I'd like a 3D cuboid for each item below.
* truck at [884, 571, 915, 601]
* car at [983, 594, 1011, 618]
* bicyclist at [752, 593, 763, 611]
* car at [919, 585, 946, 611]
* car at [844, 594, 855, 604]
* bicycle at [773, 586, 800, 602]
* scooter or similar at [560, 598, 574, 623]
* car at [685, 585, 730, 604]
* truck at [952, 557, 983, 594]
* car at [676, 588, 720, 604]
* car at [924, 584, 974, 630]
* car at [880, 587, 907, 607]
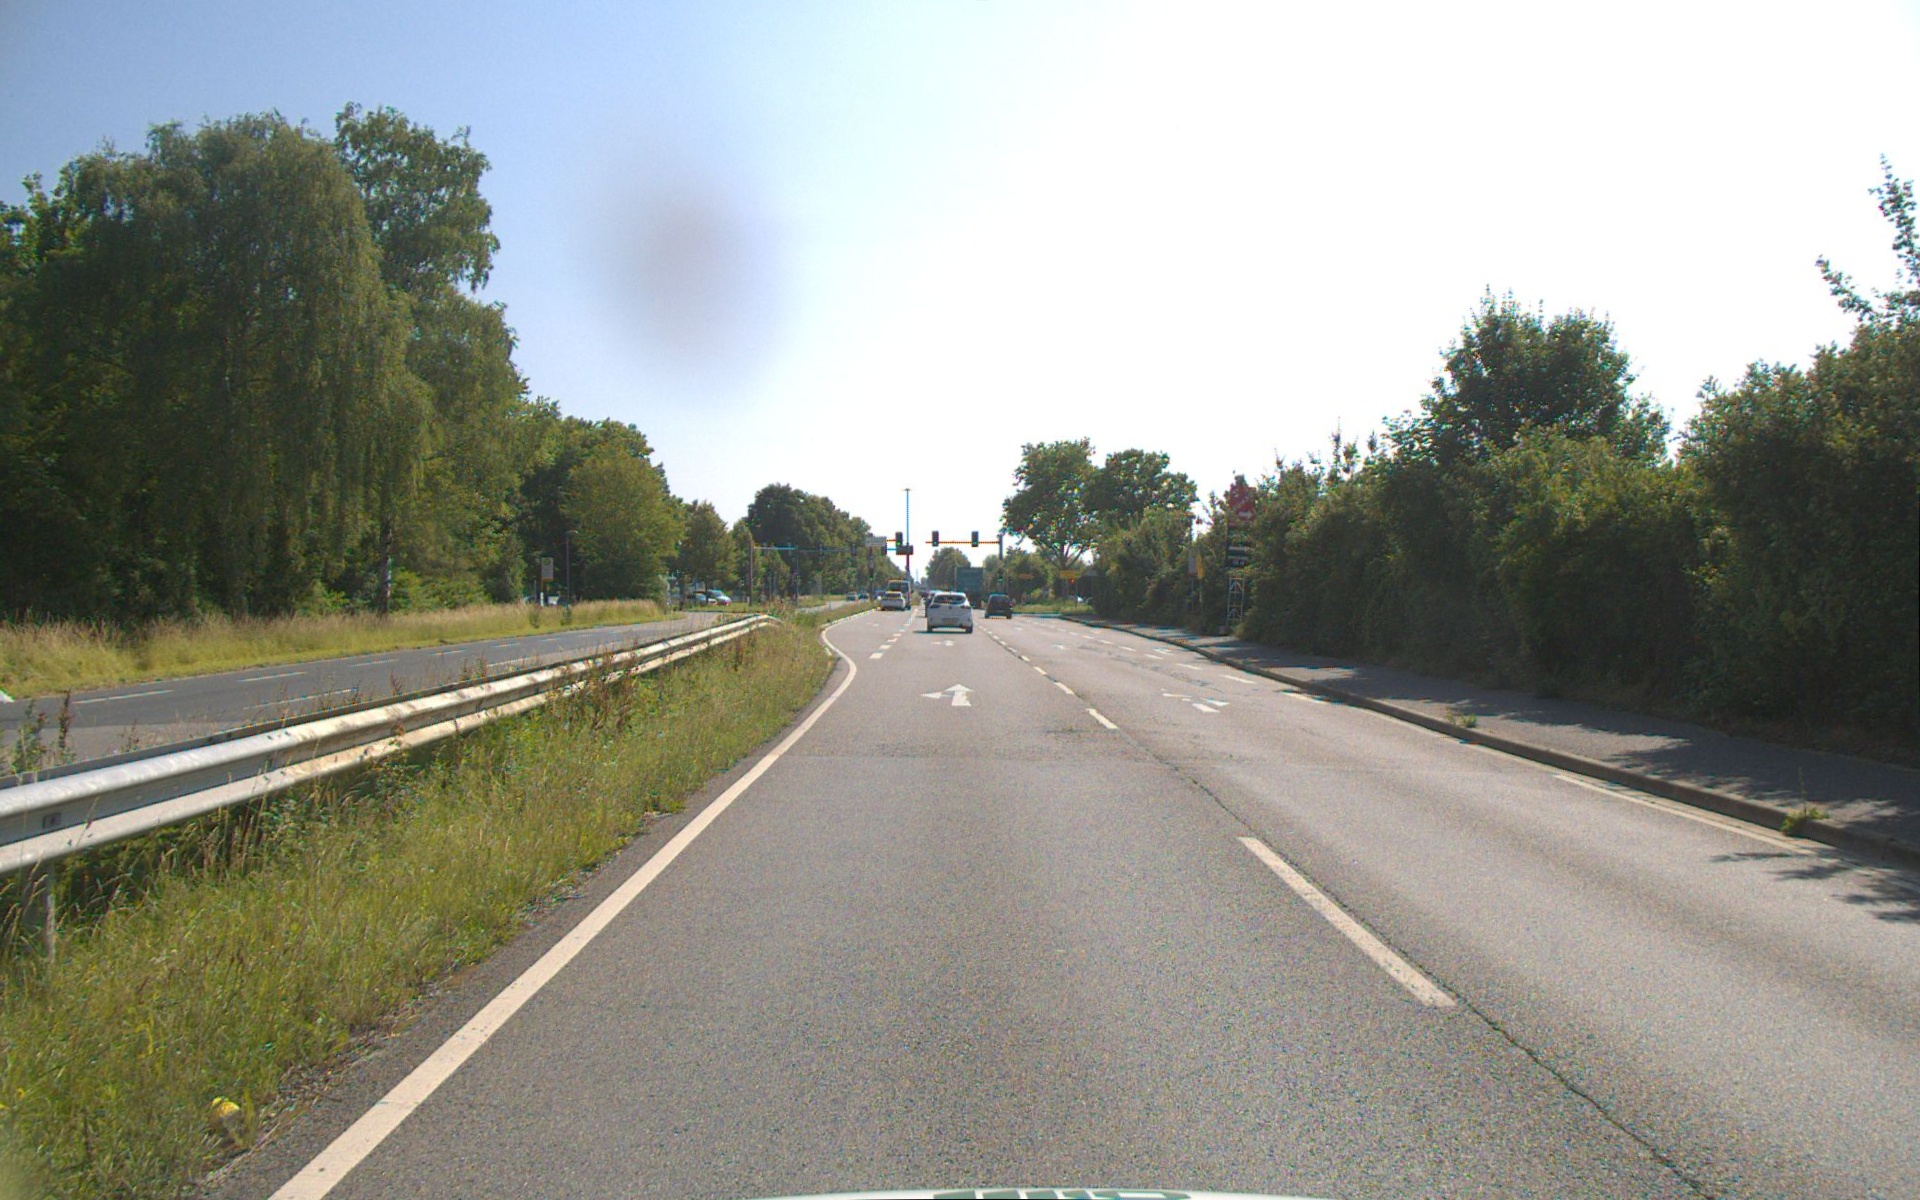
[{"bbox_3d":[-4.936,-1.171,136.346,2.325,2.430,6.040,1,1,0],"label":"truck"},{"bbox_3d":[2.265,0.361,101.940,1.540,1.439,3.277,1,0,-1],"label":"car"},{"bbox_3d":[-18.089,0.167,147.534,0.829,1.544,0.747,0,0,4],"label":"bicyclist"},{"bbox_3d":[-1.623,-0.114,98.542,1.540,1.439,3.276,2,0,-1],"label":"car"},{"bbox_3d":[-16.411,-0.167,245.422,1.456,1.439,3.761,-3,1,-1],"label":"car"},{"bbox_3d":[-18.736,-0.628,178.365,2.737,1.699,1.135,0,0,26],"label":"bicycle"},{"bbox_3d":[-19.451,0.523,81.831,0.360,1.206,1.340,-2,0,-1],"label":"scooter or similar"},{"bbox_3d":[-26.605,-0.593,174.029,4.559,1.984,1.994,-1,0,34],"label":"car"},{"bbox_3d":[0.669,-2.333,160.602,2.833,3.488,9.167,0,1,-1],"label":"truck"},{"bbox_3d":[-27.032,-0.408,170.578,4.180,1.634,1.998,-1,0,34],"label":"car"},{"bbox_3d":[-0.388,0.228,61.128,1.762,1.580,4.000,1,1,0],"label":"car"},{"bbox_3d":[-5.133,-0.222,127.475,1.775,1.490,4.971,2,0,1],"label":"car"}]
